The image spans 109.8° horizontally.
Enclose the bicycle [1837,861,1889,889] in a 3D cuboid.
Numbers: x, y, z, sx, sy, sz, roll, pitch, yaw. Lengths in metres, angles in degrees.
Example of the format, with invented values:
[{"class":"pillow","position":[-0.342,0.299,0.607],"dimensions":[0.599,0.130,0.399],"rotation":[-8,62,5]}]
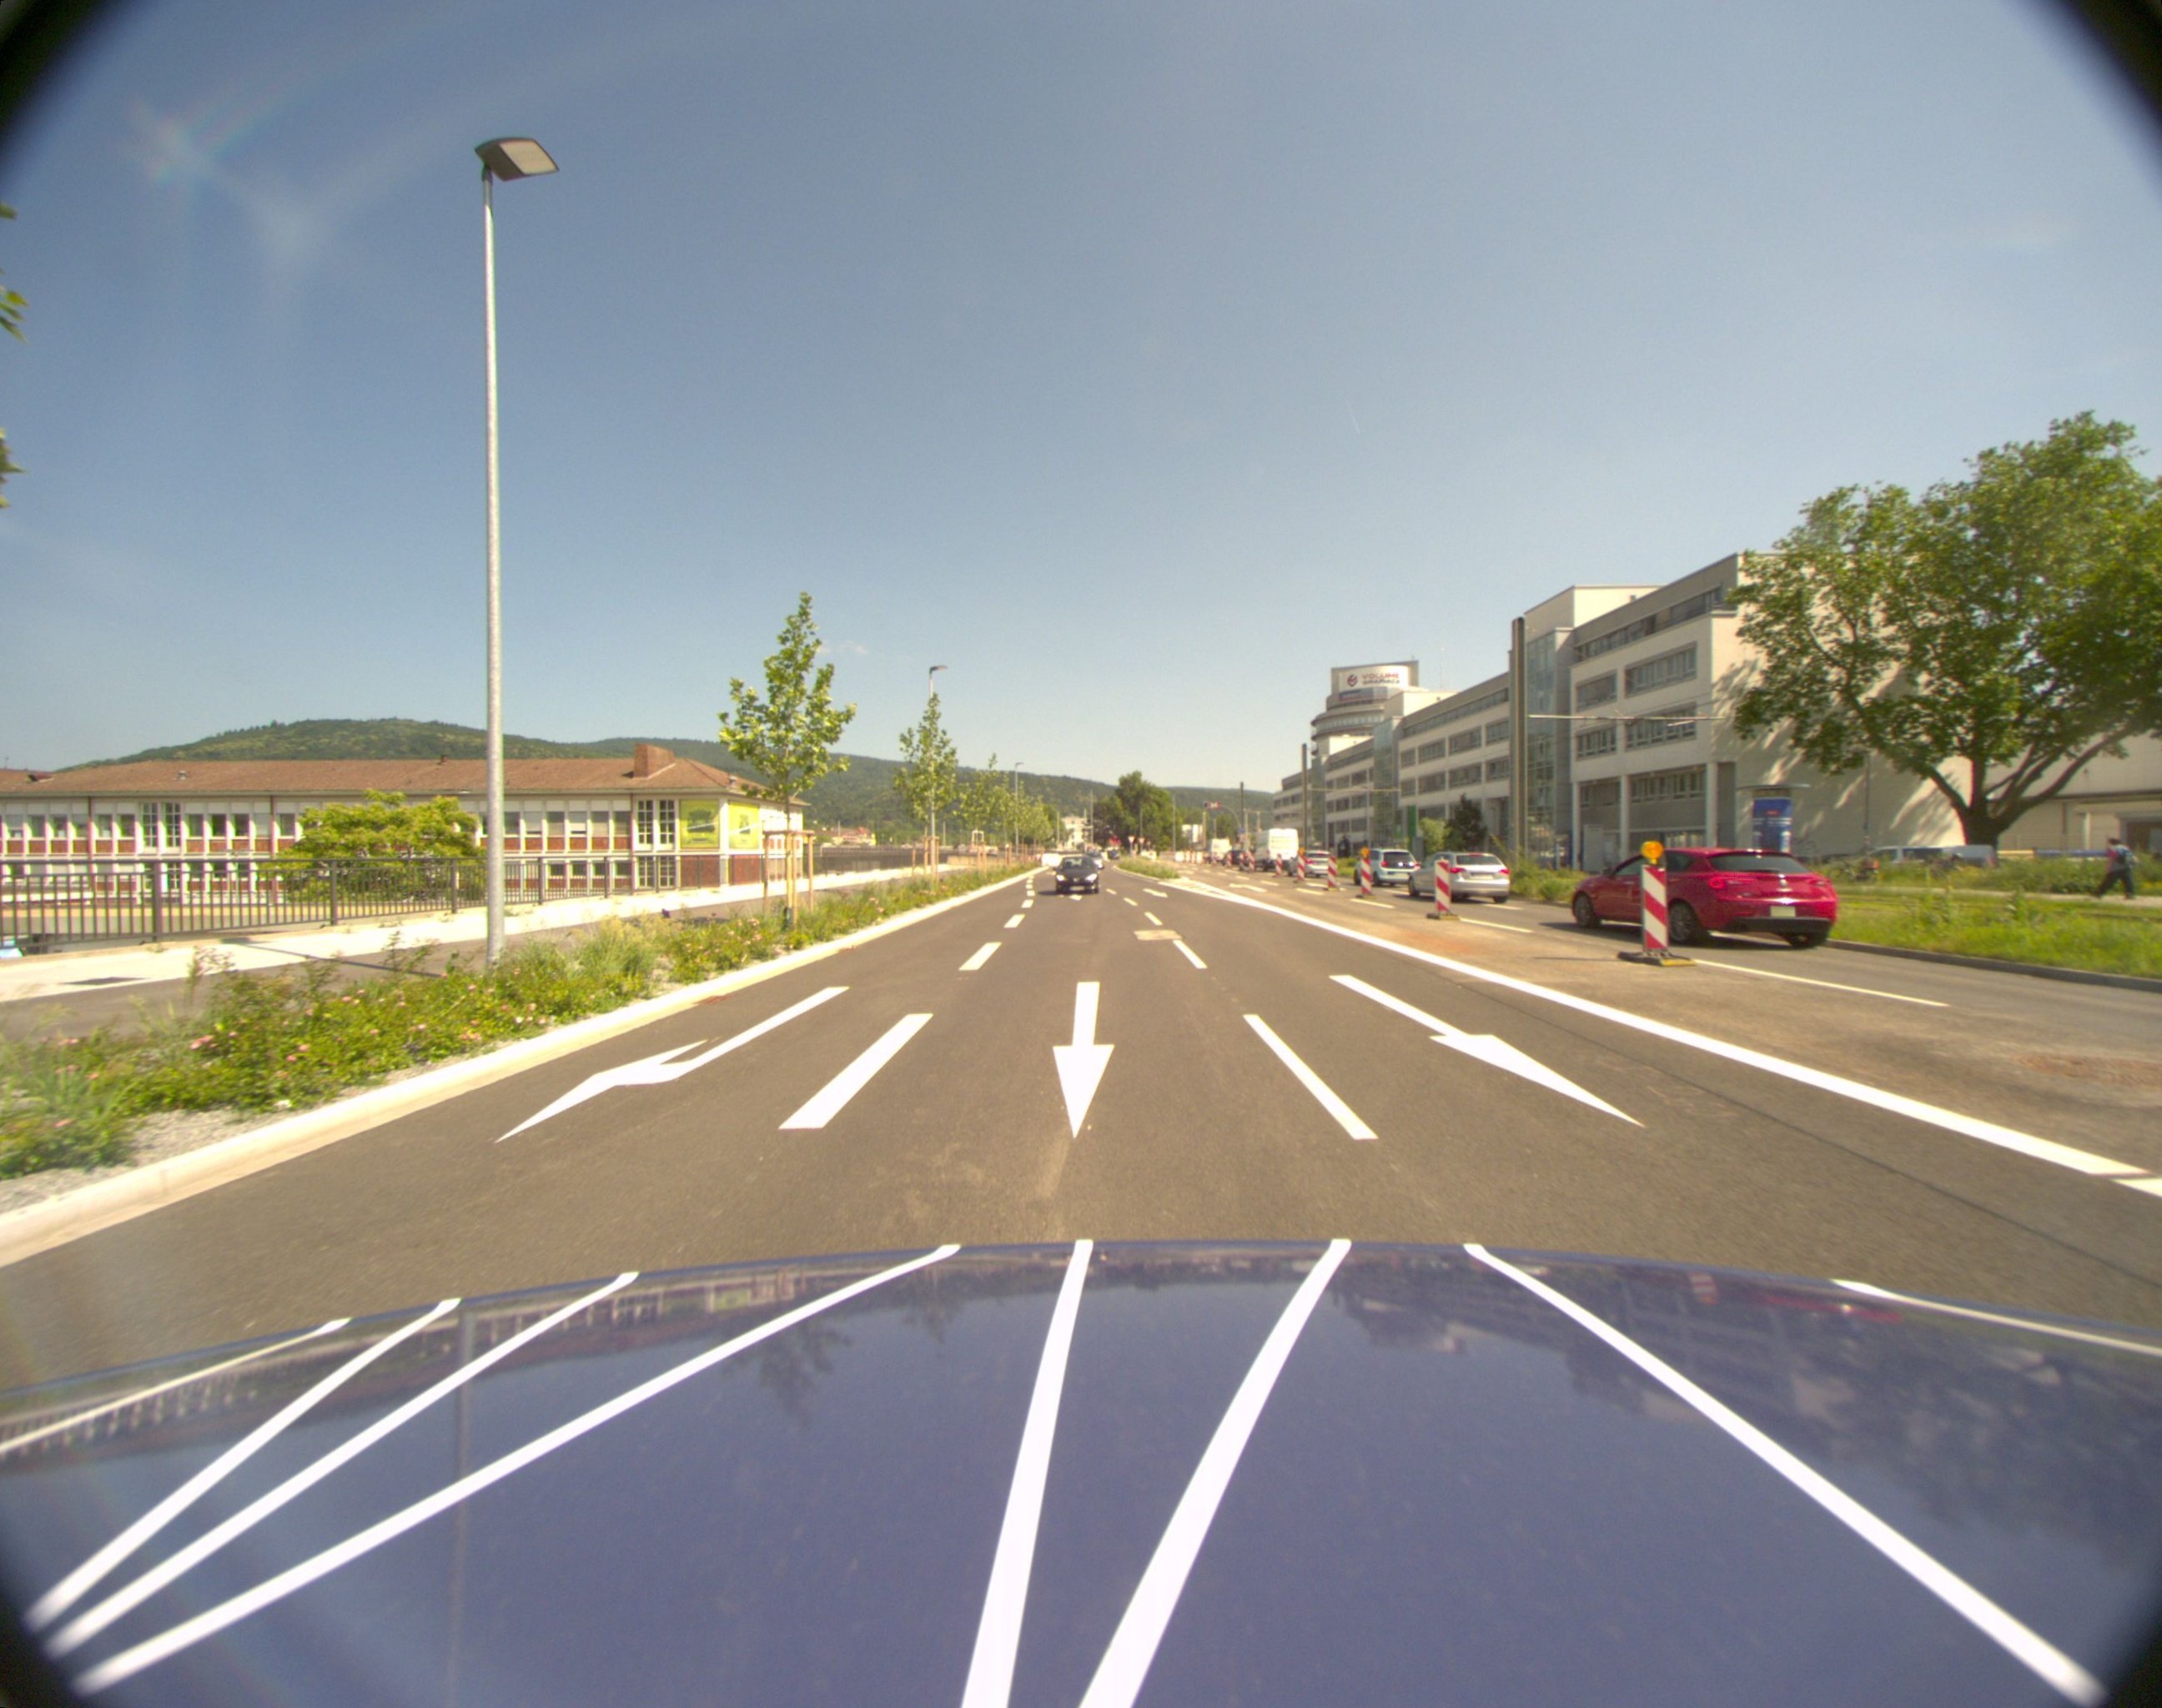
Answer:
[{"class":"bicycle","position":[29.831,0.791,28.999],"dimensions":[0.461,0.980,1.558],"rotation":[-1,1,5]}]

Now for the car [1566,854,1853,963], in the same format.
[{"class":"car","position":[9.699,0.722,12.198],"dimensions":[1.583,1.408,4.000],"rotation":[0,1,6]}]

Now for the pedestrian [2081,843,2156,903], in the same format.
[{"class":"pedestrian","position":[27.868,0.498,20.422],"dimensions":[0.816,1.567,0.827],"rotation":[-3,1,6]}]

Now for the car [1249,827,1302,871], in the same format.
[{"class":"car","position":[12.859,-0.325,50.746],"dimensions":[2.082,2.724,5.986],"rotation":[1,1,1]}]

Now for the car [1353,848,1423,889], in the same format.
[{"class":"car","position":[12.412,0.541,30.947],"dimensions":[1.583,1.521,3.621],"rotation":[2,1,5]}]

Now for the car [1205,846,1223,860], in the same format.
[{"class":"car","position":[15.572,-0.088,89.047],"dimensions":[1.584,1.532,3.978],"rotation":[2,1,4]}]

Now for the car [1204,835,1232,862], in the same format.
[{"class":"car","position":[14.156,-0.585,78.805],"dimensions":[2.035,2.564,6.195],"rotation":[2,1,3]}]

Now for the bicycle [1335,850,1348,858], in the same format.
[{"class":"bicycle","position":[33.574,0.022,97.977],"dimensions":[0.756,1.012,2.831],"rotation":[-1,1,3]}]

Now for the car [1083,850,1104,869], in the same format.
[{"class":"car","position":[0.967,0.395,61.463],"dimensions":[1.618,1.433,3.767],"rotation":[0,1,0]}]

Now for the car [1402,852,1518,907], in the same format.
[{"class":"car","position":[10.885,0.659,22.171],"dimensions":[1.583,1.408,4.298],"rotation":[0,1,6]}]

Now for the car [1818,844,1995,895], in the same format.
[{"class":"car","position":[37.416,0.659,34.672],"dimensions":[5.062,2.167,2.117],"rotation":[0,1,28]}]

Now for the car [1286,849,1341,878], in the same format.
[{"class":"car","position":[12.394,0.454,40.821],"dimensions":[1.677,1.435,4.468],"rotation":[1,1,2]}]

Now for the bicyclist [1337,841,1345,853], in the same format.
[{"class":"bicyclist","position":[33.552,-0.863,97.978],"dimensions":[0.756,1.531,1.077],"rotation":[-1,2,2]}]

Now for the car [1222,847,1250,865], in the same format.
[{"class":"car","position":[13.136,0.167,64.515],"dimensions":[1.549,1.449,4.192],"rotation":[2,1,2]}]

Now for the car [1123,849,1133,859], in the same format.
[{"class":"car","position":[7.525,-0.029,121.852],"dimensions":[1.618,1.433,3.768],"rotation":[-2,1,2]}]

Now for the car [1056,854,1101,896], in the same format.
[{"class":"car","position":[-0.078,0.763,29.469],"dimensions":[1.618,1.433,3.706],"rotation":[0,1,0]}]
